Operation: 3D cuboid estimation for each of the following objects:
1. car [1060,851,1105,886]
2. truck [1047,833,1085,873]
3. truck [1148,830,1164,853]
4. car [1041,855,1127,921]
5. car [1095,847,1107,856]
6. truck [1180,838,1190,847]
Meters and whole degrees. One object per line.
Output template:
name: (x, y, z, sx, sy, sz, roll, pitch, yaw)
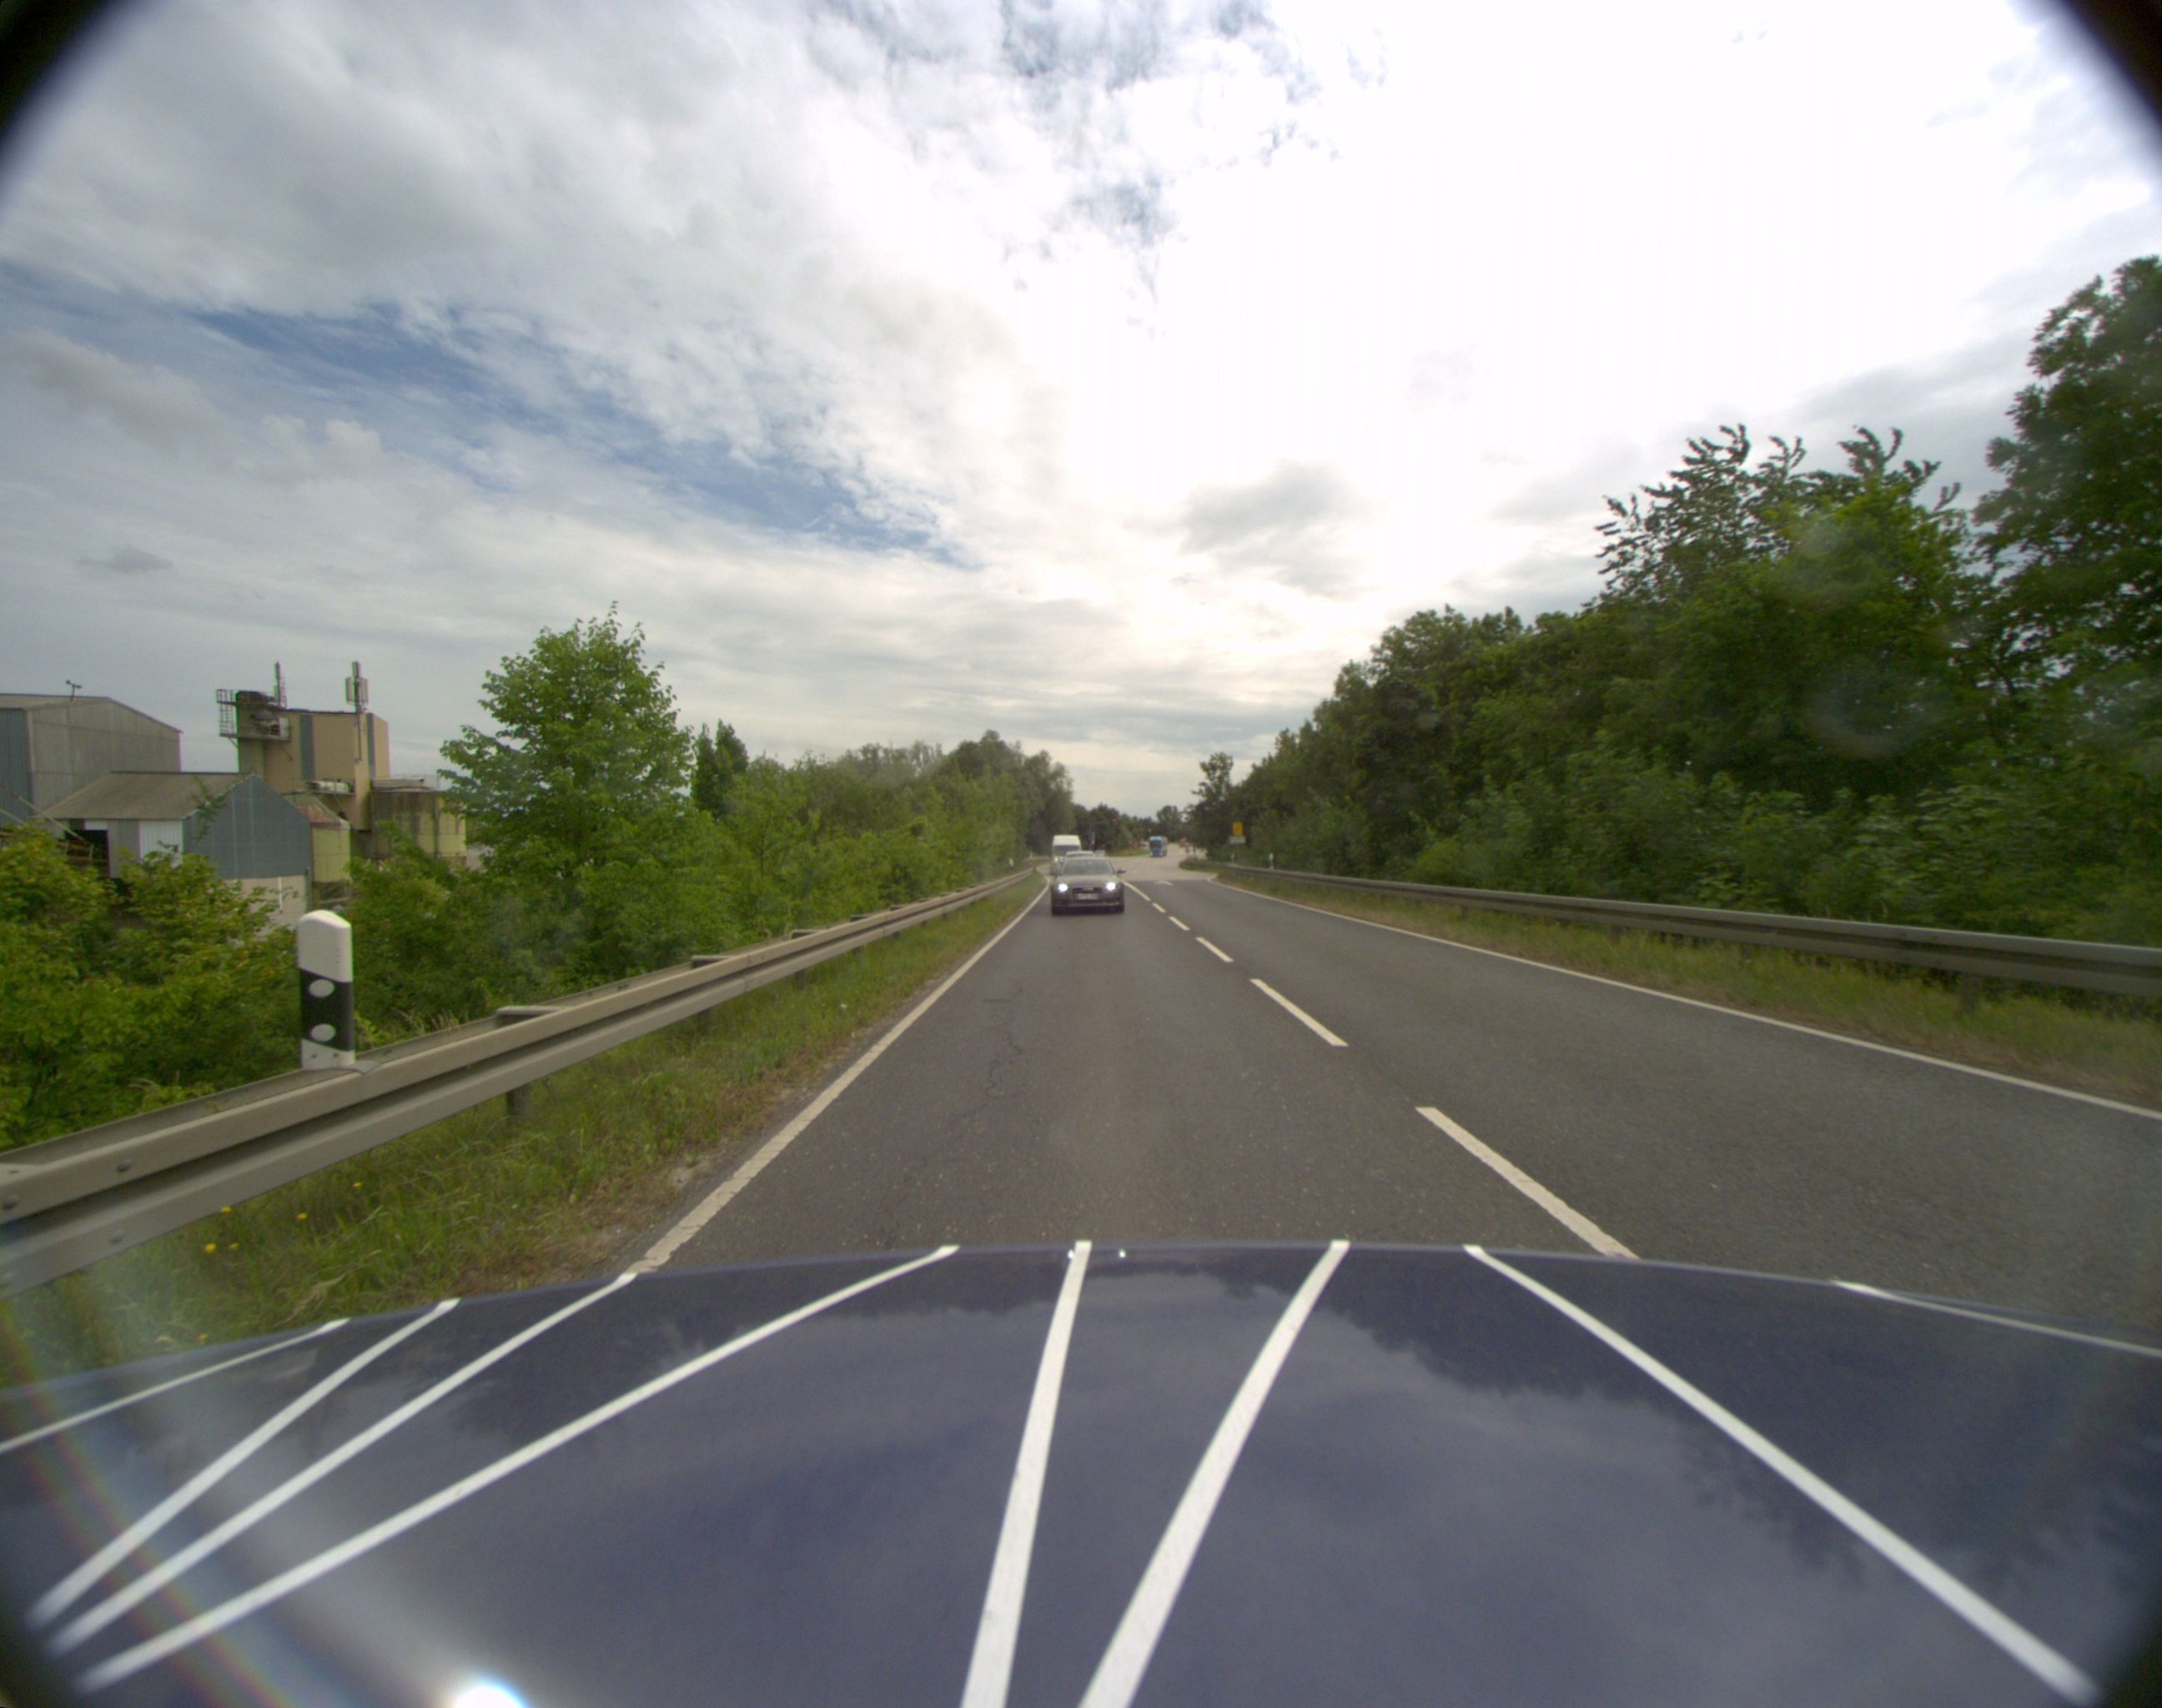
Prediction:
car: (0.125, 0.660, 36.691, 1.826, 1.489, 4.225, 3, 1, 4)
truck: (-0.967, -0.136, 52.157, 2.379, 2.579, 5.997, 1, 1, 0)
truck: (15.166, -2.479, 152.616, 3.025, 4.325, 9.574, 1, 1, 6)
car: (0.214, 0.817, 20.705, 1.964, 1.447, 4.797, -1, 1, 5)
car: (3.030, -0.429, 116.311, 1.744, 1.317, 3.999, 3, 1, 1)
truck: (34.153, -3.786, 249.457, 2.323, 2.586, 6.020, 1, 1, -4)
